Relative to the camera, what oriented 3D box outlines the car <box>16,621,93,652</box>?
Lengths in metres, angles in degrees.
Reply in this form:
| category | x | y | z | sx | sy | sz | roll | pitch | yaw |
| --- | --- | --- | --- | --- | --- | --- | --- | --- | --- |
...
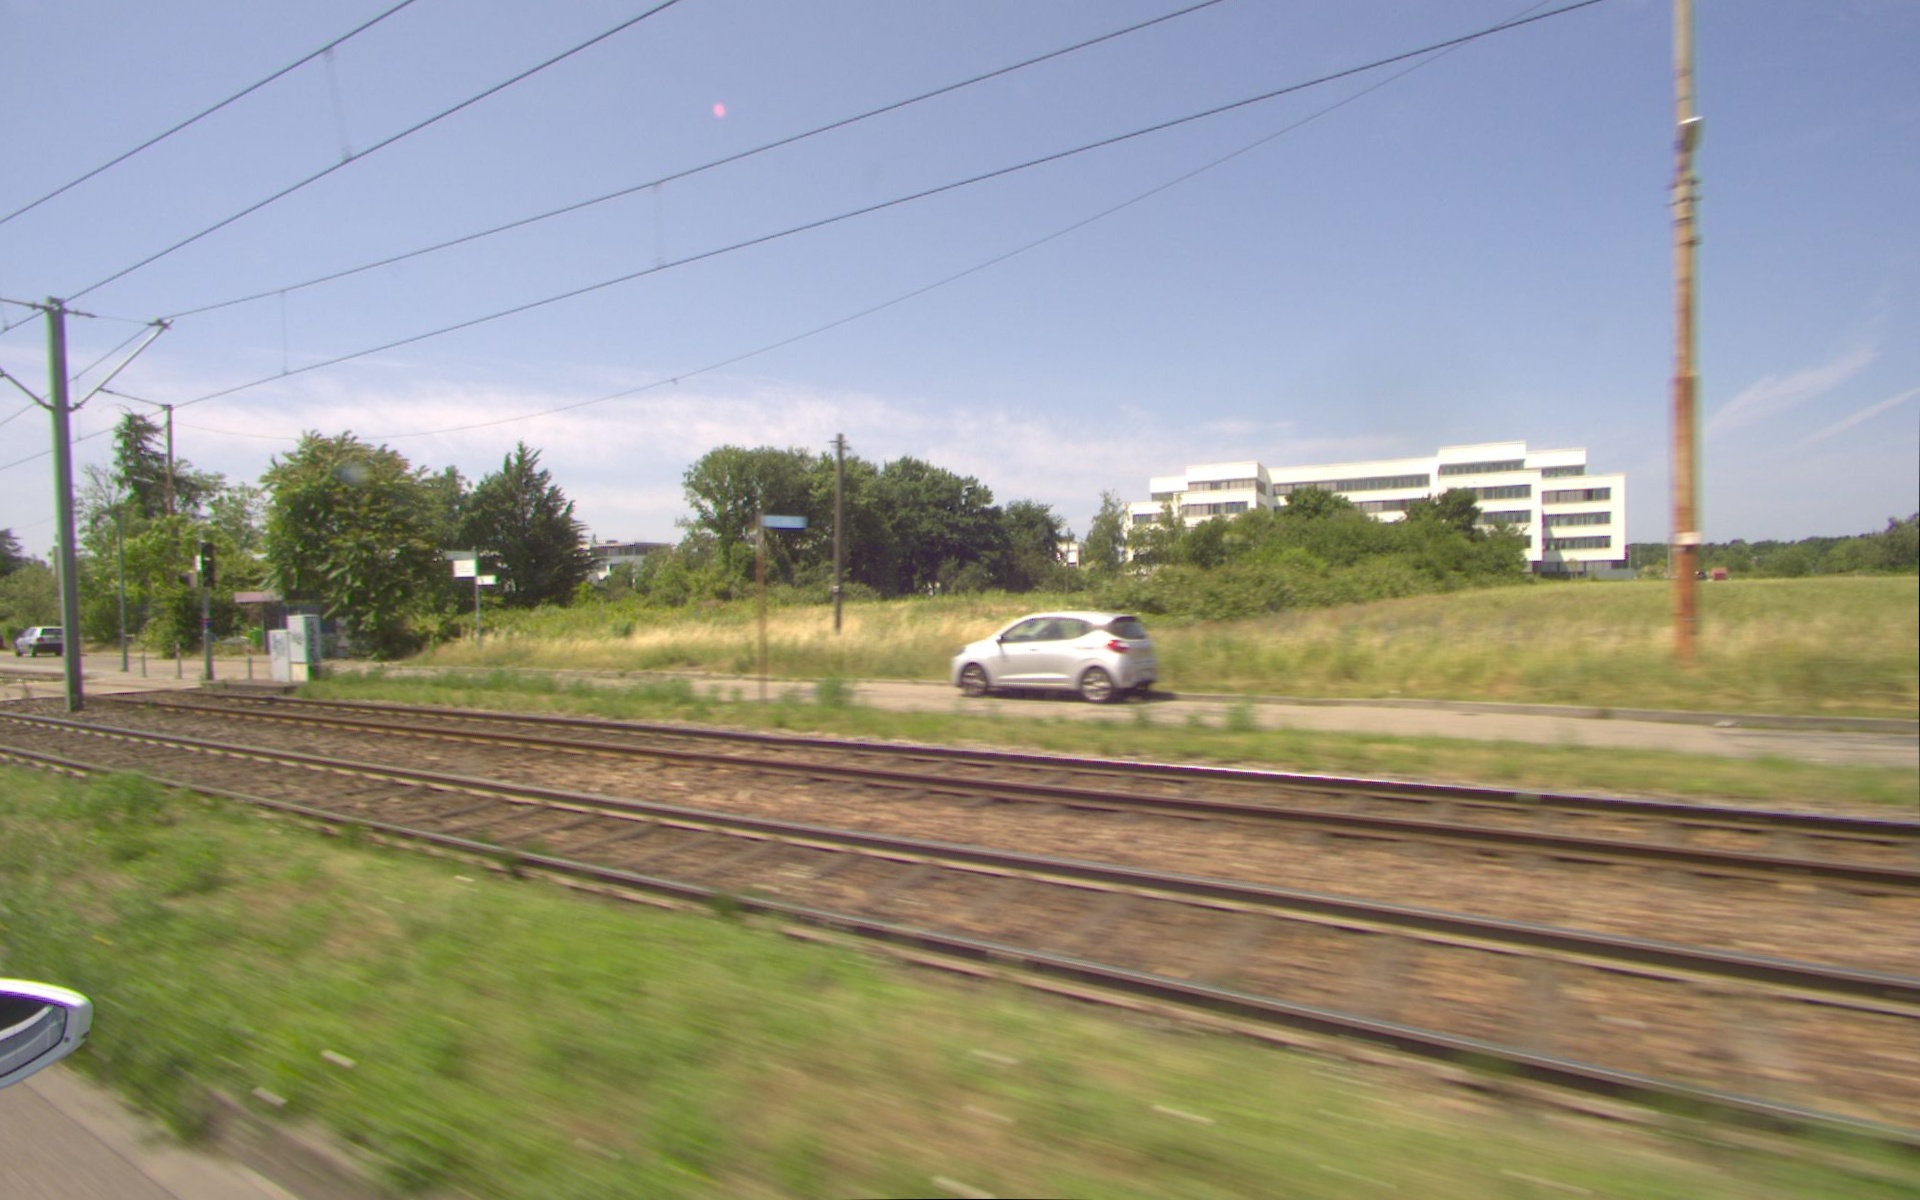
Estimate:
| category | x | y | z | sx | sy | sz | roll | pitch | yaw |
| --- | --- | --- | --- | --- | --- | --- | --- | --- | --- |
| car | -43.574 | 1.733 | 48.154 | 3.947 | 1.440 | 1.933 | -1 | -1 | 35 |

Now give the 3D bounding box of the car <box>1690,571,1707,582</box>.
| category | x | y | z | sx | sy | sz | roll | pitch | yaw |
| --- | --- | --- | --- | --- | --- | --- | --- | --- | --- |
| car | 128.482 | -4.105 | 174.195 | 1.737 | 1.842 | 4.200 | -1 | -1 | 28 |

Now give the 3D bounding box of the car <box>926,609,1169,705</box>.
| category | x | y | z | sx | sy | sz | roll | pitch | yaw |
| --- | --- | --- | --- | --- | --- | --- | --- | --- | --- |
| car | 1.498 | 0.943 | 17.661 | 3.946 | 1.508 | 1.708 | -1 | -1 | 34 |

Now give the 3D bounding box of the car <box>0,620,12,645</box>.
| category | x | y | z | sx | sy | sz | roll | pitch | yaw |
| --- | --- | --- | --- | --- | --- | --- | --- | --- | --- |
| car | -58.217 | 1.938 | 59.706 | 4.809 | 1.440 | 1.615 | -1 | -1 | 36 |

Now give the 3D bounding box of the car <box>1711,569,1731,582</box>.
| category | x | y | z | sx | sy | sz | roll | pitch | yaw |
| --- | --- | --- | --- | --- | --- | --- | --- | --- | --- |
| car | 120.492 | -3.845 | 158.534 | 1.837 | 1.941 | 4.665 | -1 | -1 | 29 |

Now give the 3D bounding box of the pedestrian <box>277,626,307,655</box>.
| category | x | y | z | sx | sy | sz | roll | pitch | yaw |
| --- | --- | --- | --- | --- | --- | --- | --- | --- | --- |
| pedestrian | -25.910 | 1.570 | 38.850 | 0.711 | 1.101 | 0.804 | 0 | 1 | 42 |
